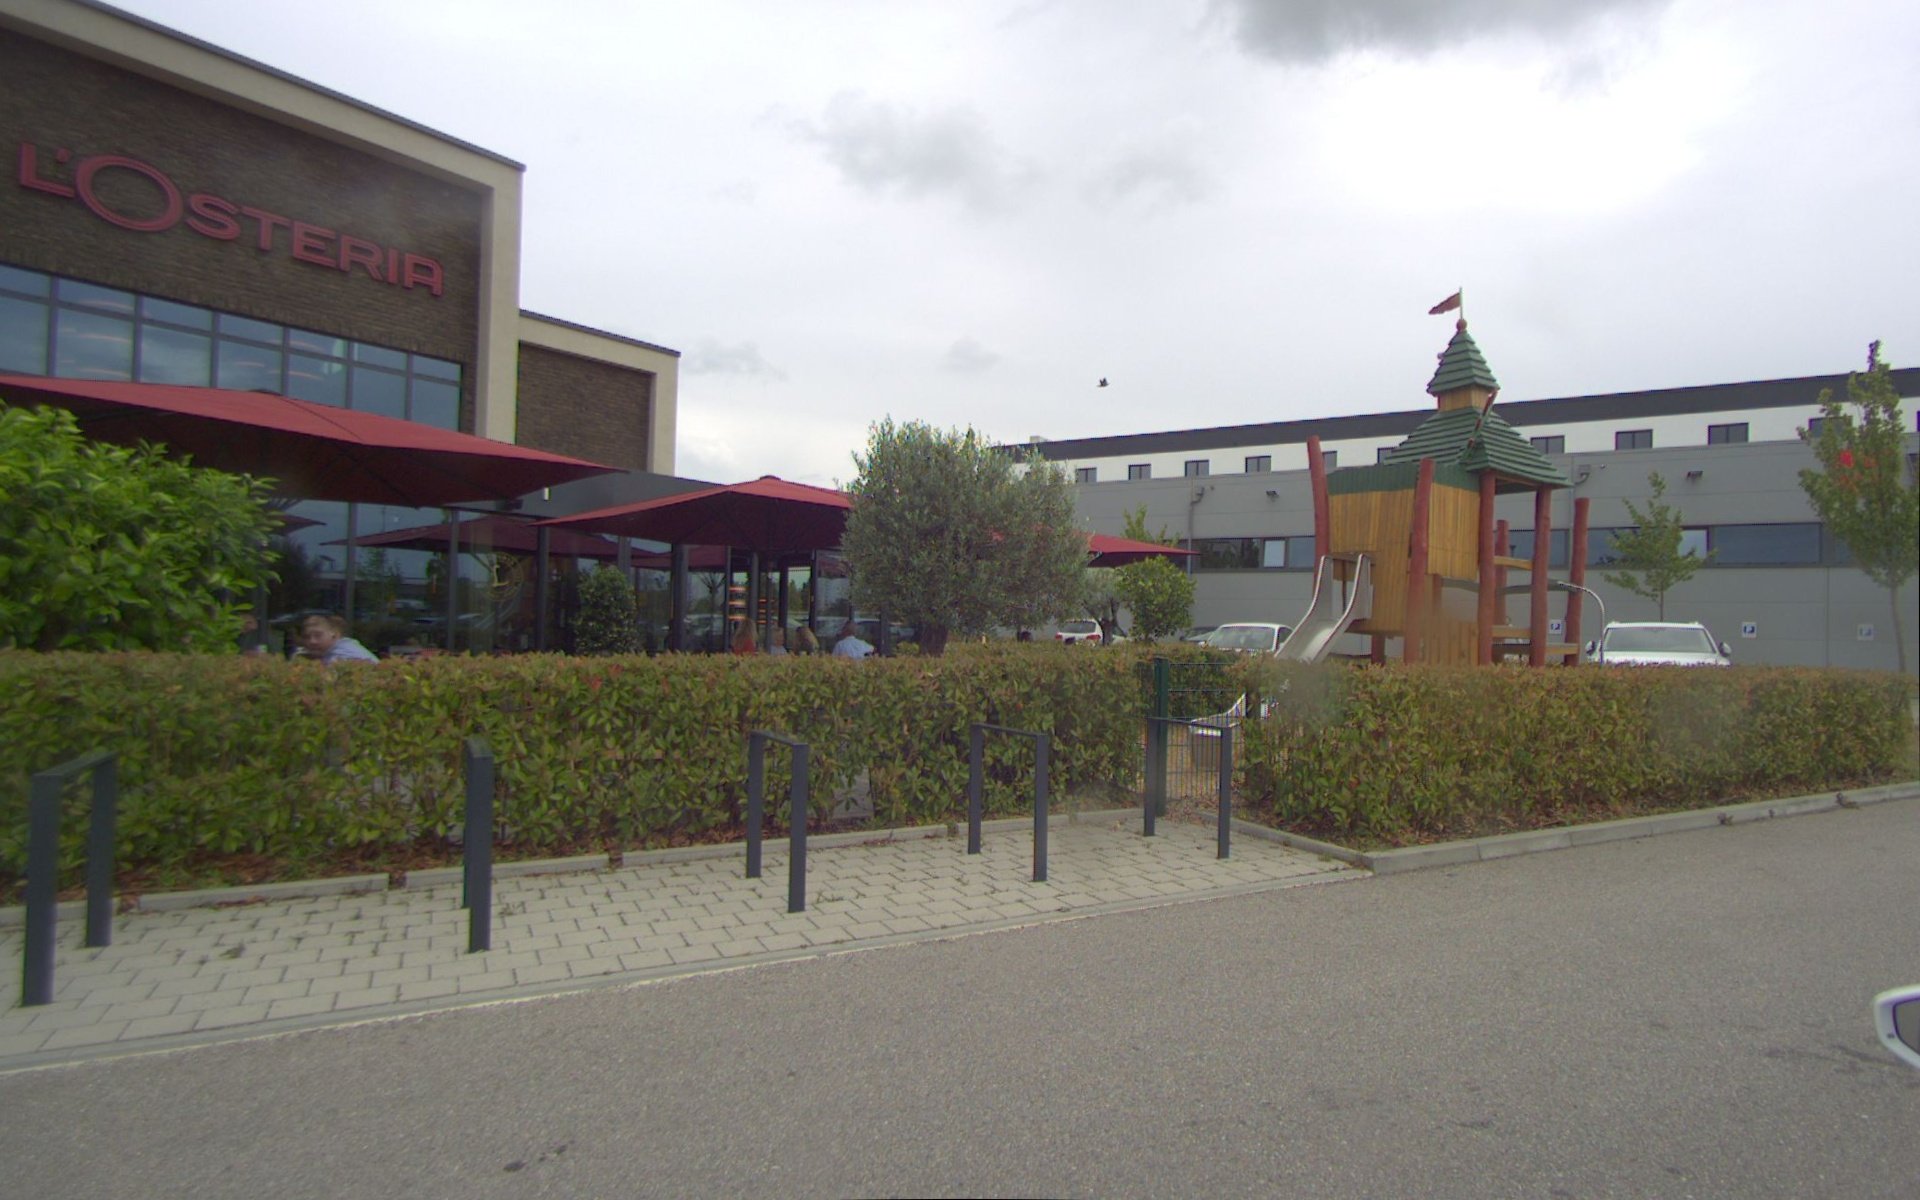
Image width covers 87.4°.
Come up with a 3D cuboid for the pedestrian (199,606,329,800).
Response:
[{"bbox_3d":[-6.708,0.966,9.698,0.728,1.771,0.704,-1,-3,22],"label":"pedestrian"}]

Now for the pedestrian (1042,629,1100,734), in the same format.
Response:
[{"bbox_3d":[1.916,1.391,17.349,0.731,1.771,0.701,-2,-3,38],"label":"pedestrian"}]

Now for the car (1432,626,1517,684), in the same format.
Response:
[{"bbox_3d":[14.974,1.593,29.140,1.713,1.572,4.253,-2,-4,33],"label":"car"}]

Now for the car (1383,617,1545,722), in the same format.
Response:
[{"bbox_3d":[9.337,1.227,18.402,1.968,1.672,4.563,-2,-4,35],"label":"car"}]

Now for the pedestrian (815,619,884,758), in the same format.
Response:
[{"bbox_3d":[-1.468,1.155,13.292,0.694,1.771,0.738,1,-3,-25],"label":"pedestrian"}]

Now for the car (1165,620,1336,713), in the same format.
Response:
[{"bbox_3d":[6.063,1.332,20.619,1.968,1.672,4.563,-2,-4,35],"label":"car"}]

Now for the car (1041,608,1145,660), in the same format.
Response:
[{"bbox_3d":[4.717,1.226,34.976,1.964,1.659,4.798,-1,-3,29],"label":"car"}]

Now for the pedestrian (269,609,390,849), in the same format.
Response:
[{"bbox_3d":[-4.964,0.981,7.957,0.734,1.771,0.698,2,-3,-30],"label":"pedestrian"}]

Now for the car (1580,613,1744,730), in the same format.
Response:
[{"bbox_3d":[11.706,1.155,16.888,1.967,1.672,4.565,-2,-3,34],"label":"car"}]

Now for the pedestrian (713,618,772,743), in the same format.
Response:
[{"bbox_3d":[-3.218,1.173,14.828,0.694,1.771,0.738,1,-3,-25],"label":"pedestrian"}]

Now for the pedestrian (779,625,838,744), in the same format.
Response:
[{"bbox_3d":[-2.326,1.276,15.383,0.694,1.771,0.738,1,-3,-25],"label":"pedestrian"}]

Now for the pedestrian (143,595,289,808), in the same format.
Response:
[{"bbox_3d":[-6.524,0.865,8.829,0.728,1.771,0.704,-1,-3,22],"label":"pedestrian"}]

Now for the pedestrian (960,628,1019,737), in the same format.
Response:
[{"bbox_3d":[0.500,1.360,16.835,0.731,1.771,0.701,-2,-3,38],"label":"pedestrian"}]

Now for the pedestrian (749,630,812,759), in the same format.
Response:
[{"bbox_3d":[-2.553,1.317,14.259,0.694,1.771,0.738,1,-3,-25],"label":"pedestrian"}]
